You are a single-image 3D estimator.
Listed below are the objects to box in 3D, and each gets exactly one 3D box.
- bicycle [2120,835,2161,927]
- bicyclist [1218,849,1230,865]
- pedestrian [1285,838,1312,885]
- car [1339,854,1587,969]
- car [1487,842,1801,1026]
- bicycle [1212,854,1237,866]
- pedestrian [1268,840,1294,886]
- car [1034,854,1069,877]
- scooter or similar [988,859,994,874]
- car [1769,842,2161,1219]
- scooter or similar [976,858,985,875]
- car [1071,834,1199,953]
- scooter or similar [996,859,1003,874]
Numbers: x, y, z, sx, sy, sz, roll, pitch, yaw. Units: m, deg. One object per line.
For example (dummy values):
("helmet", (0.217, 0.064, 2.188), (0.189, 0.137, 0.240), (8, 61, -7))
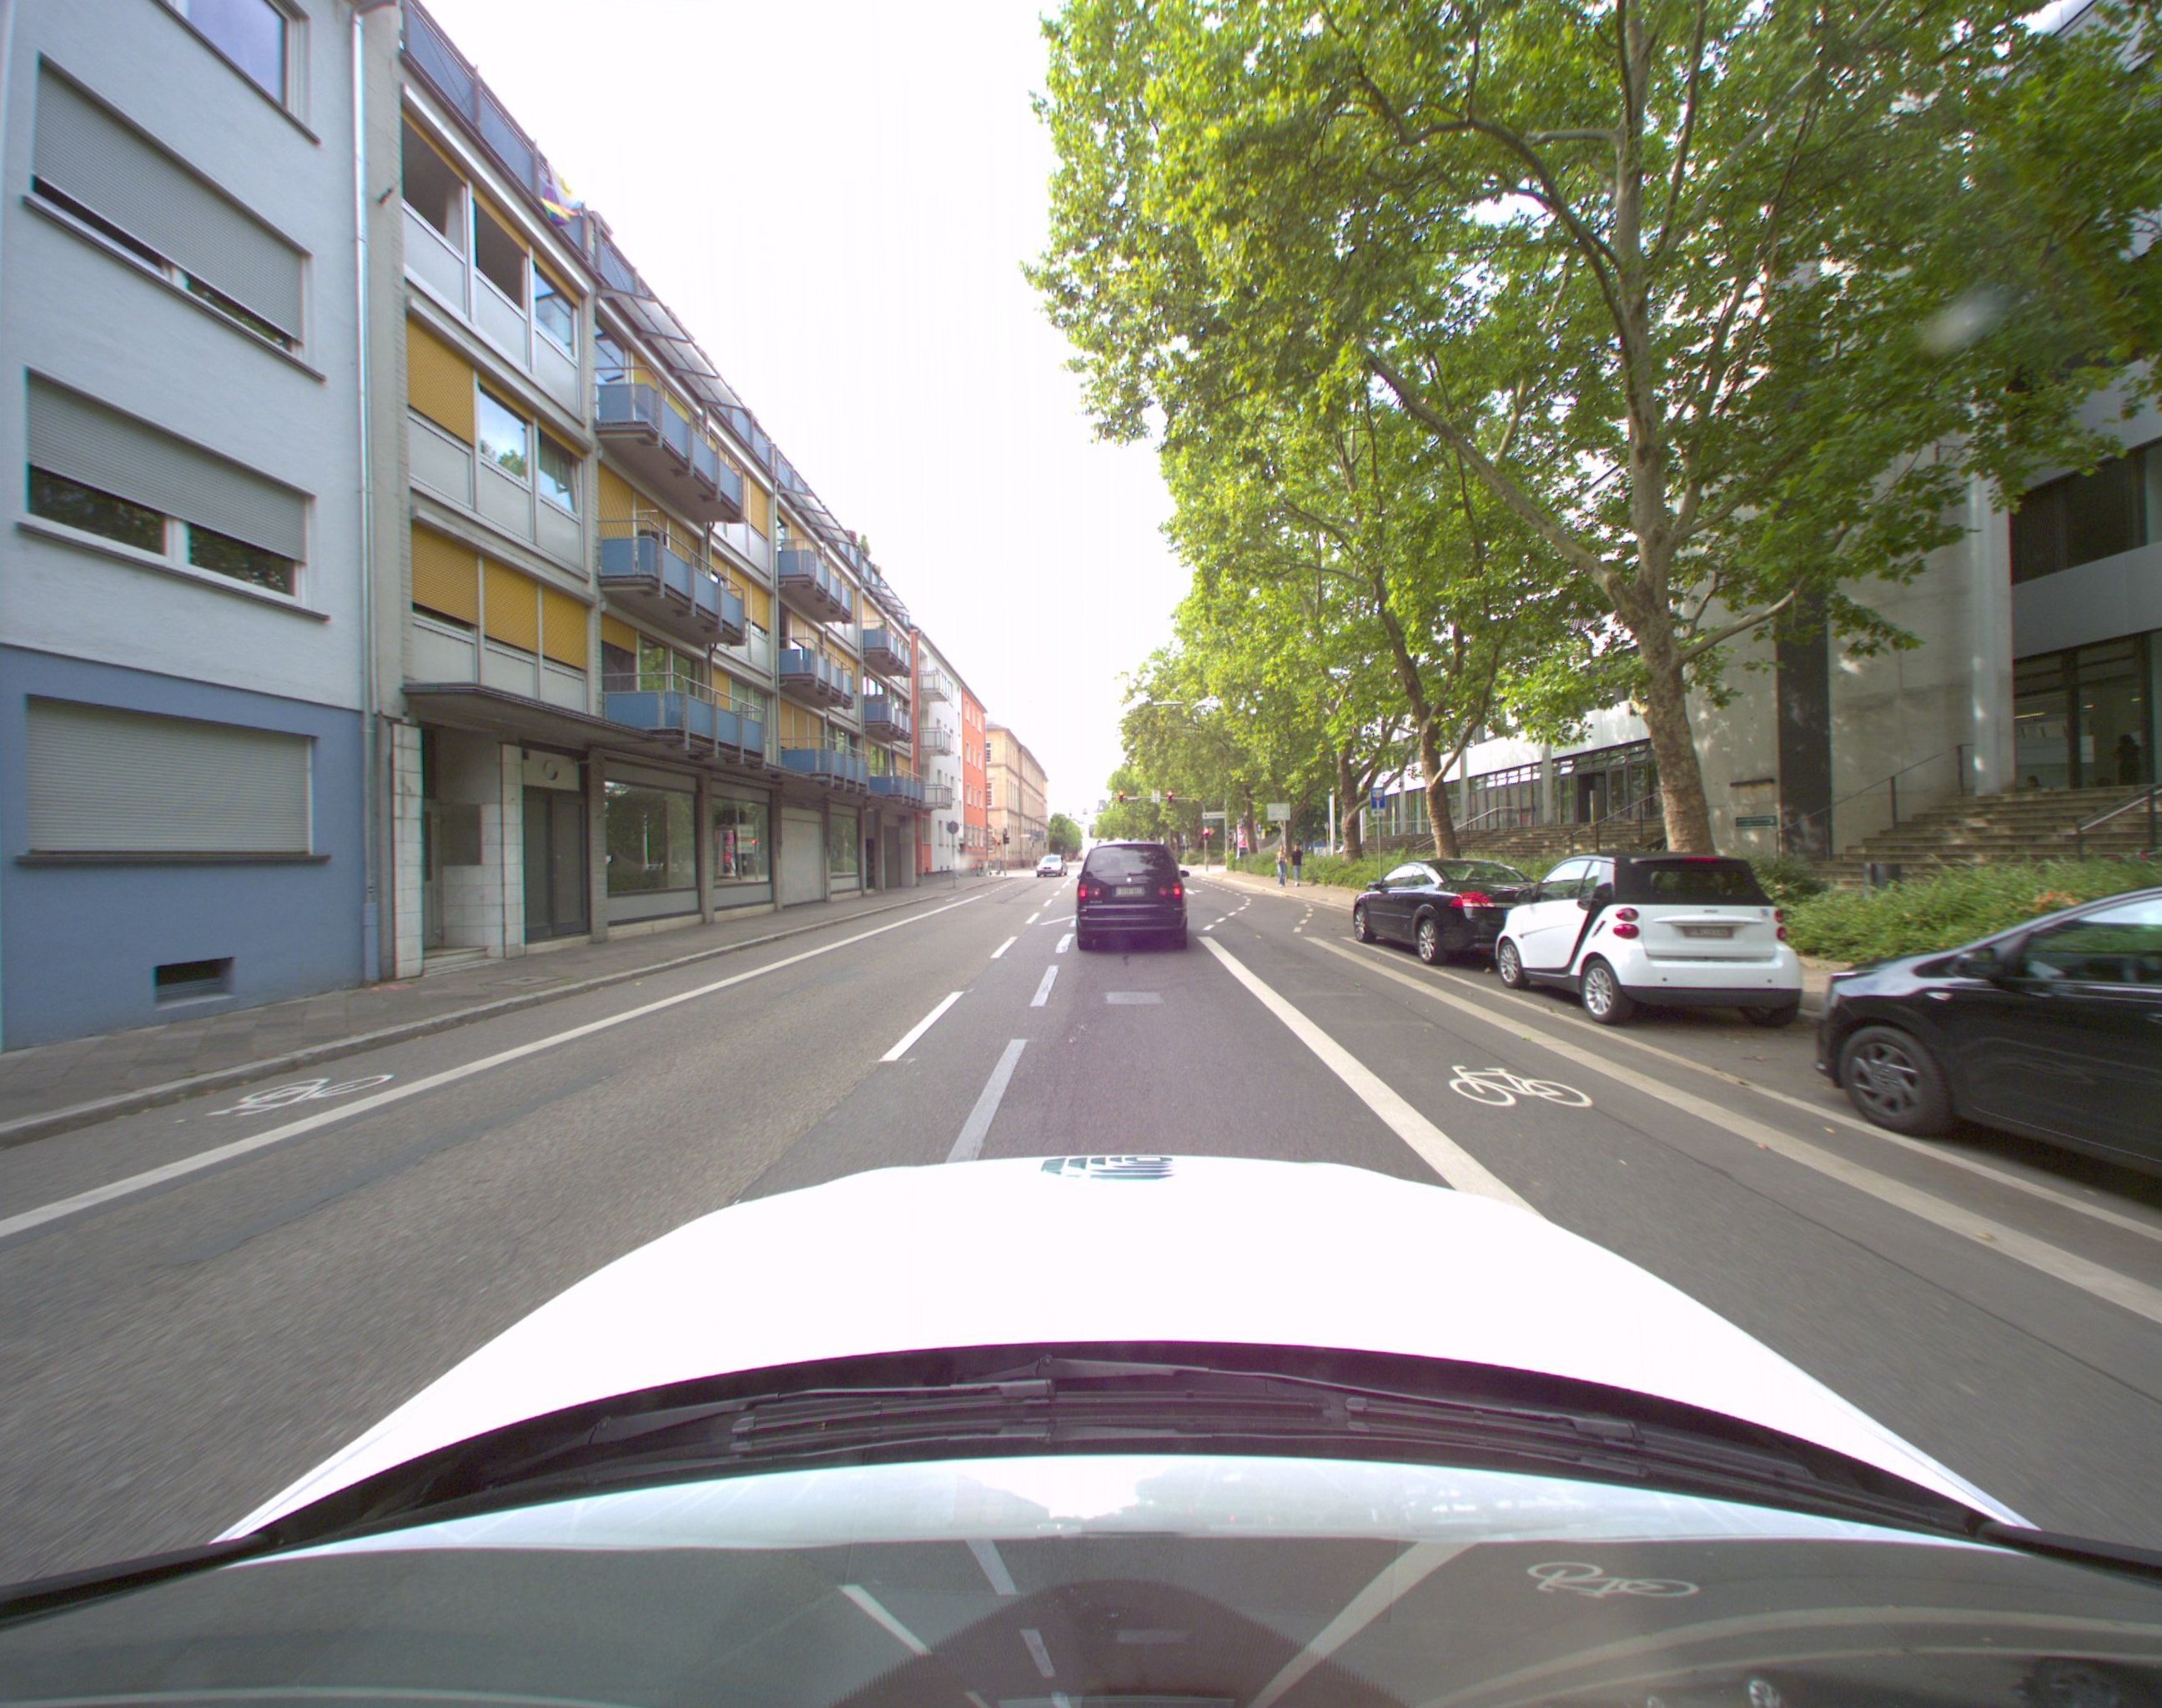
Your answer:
("bicycle", (14.297, 0.301, 10.091), (1.908, 1.117, 0.673), (-2, 0, 1))
("bicyclist", (13.469, 0.247, 76.745), (0.912, 1.493, 0.626), (-1, 0, -3))
("pedestrian", (8.716, 0.294, 32.682), (0.712, 1.800, 1.034), (-3, -1, 1))
("car", (5.471, 0.726, 12.377), (1.692, 1.425, 4.421), (0, 0, -1))
("car", (5.414, 0.669, 8.208), (1.528, 1.543, 2.602), (0, 0, 5))
("bicycle", (13.476, 0.537, 76.749), (2.229, 1.094, 0.627), (-1, 0, -4))
("pedestrian", (8.061, 0.358, 32.783), (0.708, 1.783, 1.034), (-3, -1, 1))
("car", (-2.010, 0.769, 56.682), (1.748, 1.427, 4.106), (-3, 0, 6))
("scooter or similar", (-6.858, 0.945, 62.096), (0.377, 1.147, 1.141), (-1, -2, -1))
("car", (5.073, 0.705, 3.348), (1.522, 1.502, 3.662), (0, 0, 2))
("scooter or similar", (-6.909, 0.878, 55.877), (0.376, 1.184, 1.390), (-1, -2, 2))
("car", (0.857, 0.581, 14.437), (1.867, 1.745, 4.575), (-1, 0, 1))
("scooter or similar", (-6.248, 0.941, 62.508), (0.377, 1.144, 1.141), (-1, -2, -1))
